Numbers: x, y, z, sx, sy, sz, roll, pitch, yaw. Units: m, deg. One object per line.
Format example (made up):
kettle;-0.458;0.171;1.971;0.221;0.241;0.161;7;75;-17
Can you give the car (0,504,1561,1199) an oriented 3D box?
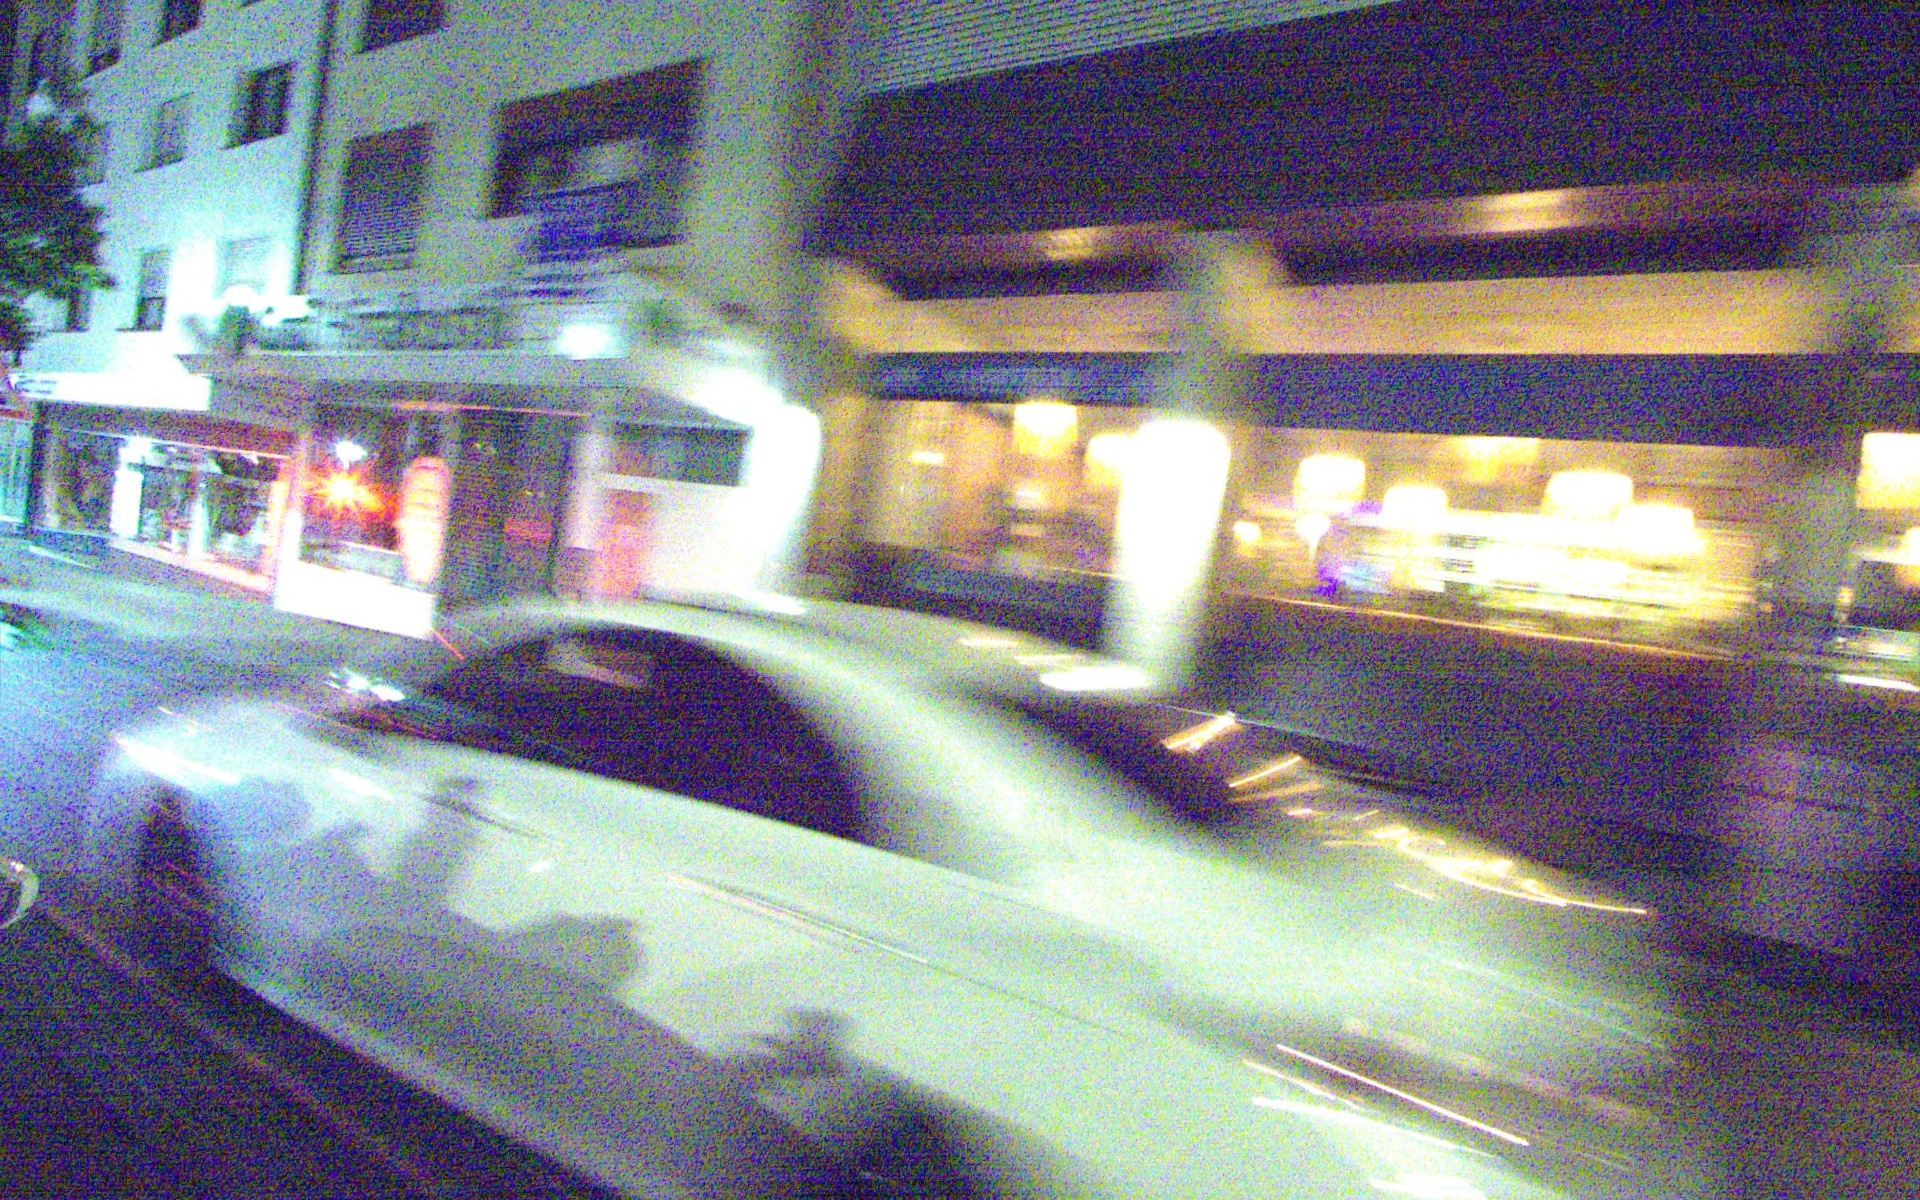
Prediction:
car;-0.866;0.653;3.117;4.517;1.461;1.859;6;2;30
